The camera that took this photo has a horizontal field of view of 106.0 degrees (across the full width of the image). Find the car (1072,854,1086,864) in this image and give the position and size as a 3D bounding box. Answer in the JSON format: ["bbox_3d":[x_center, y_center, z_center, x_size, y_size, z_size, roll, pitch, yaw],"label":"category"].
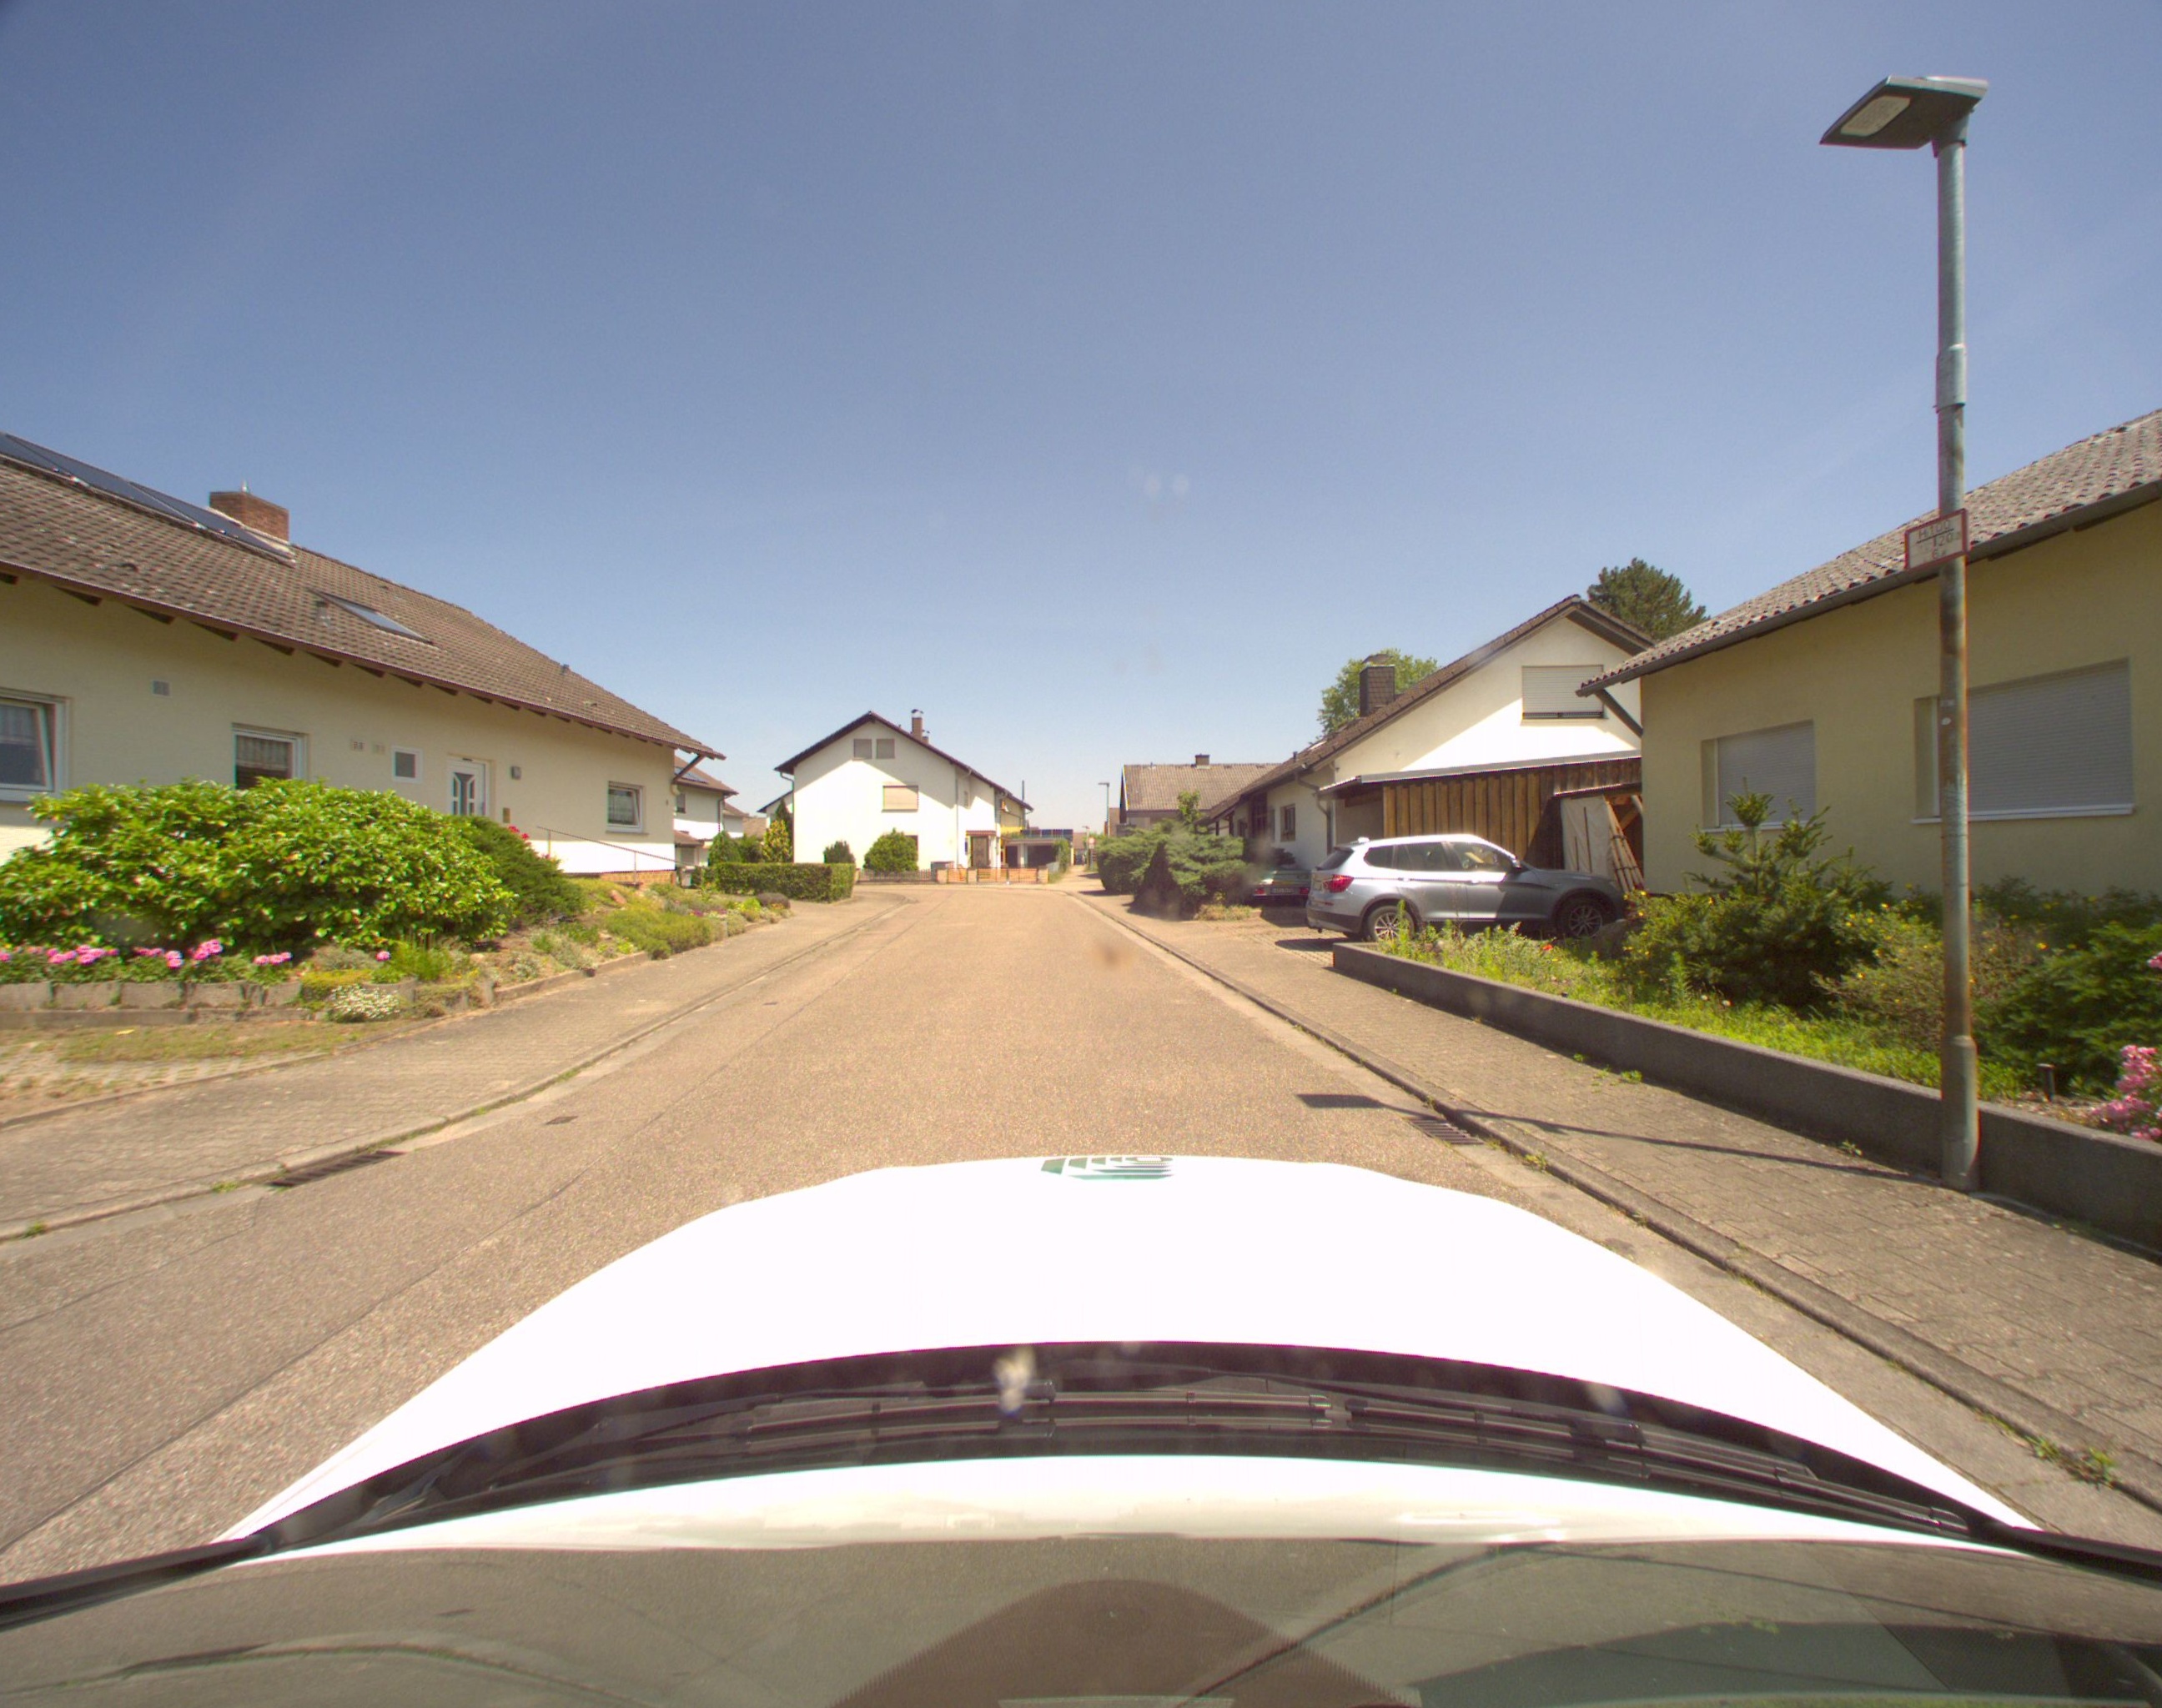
[{"bbox_3d":[-0.367,0.820,138.398,2.186,1.701,3.808,-1,0,1],"label":"car"}]

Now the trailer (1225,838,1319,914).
[{"bbox_3d":[4.657,0.481,20.238,1.581,1.672,3.297,-2,0,1],"label":"trailer"}]

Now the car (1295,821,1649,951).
[{"bbox_3d":[5.858,0.470,12.647,4.607,1.702,1.711,-2,0,3],"label":"car"}]
